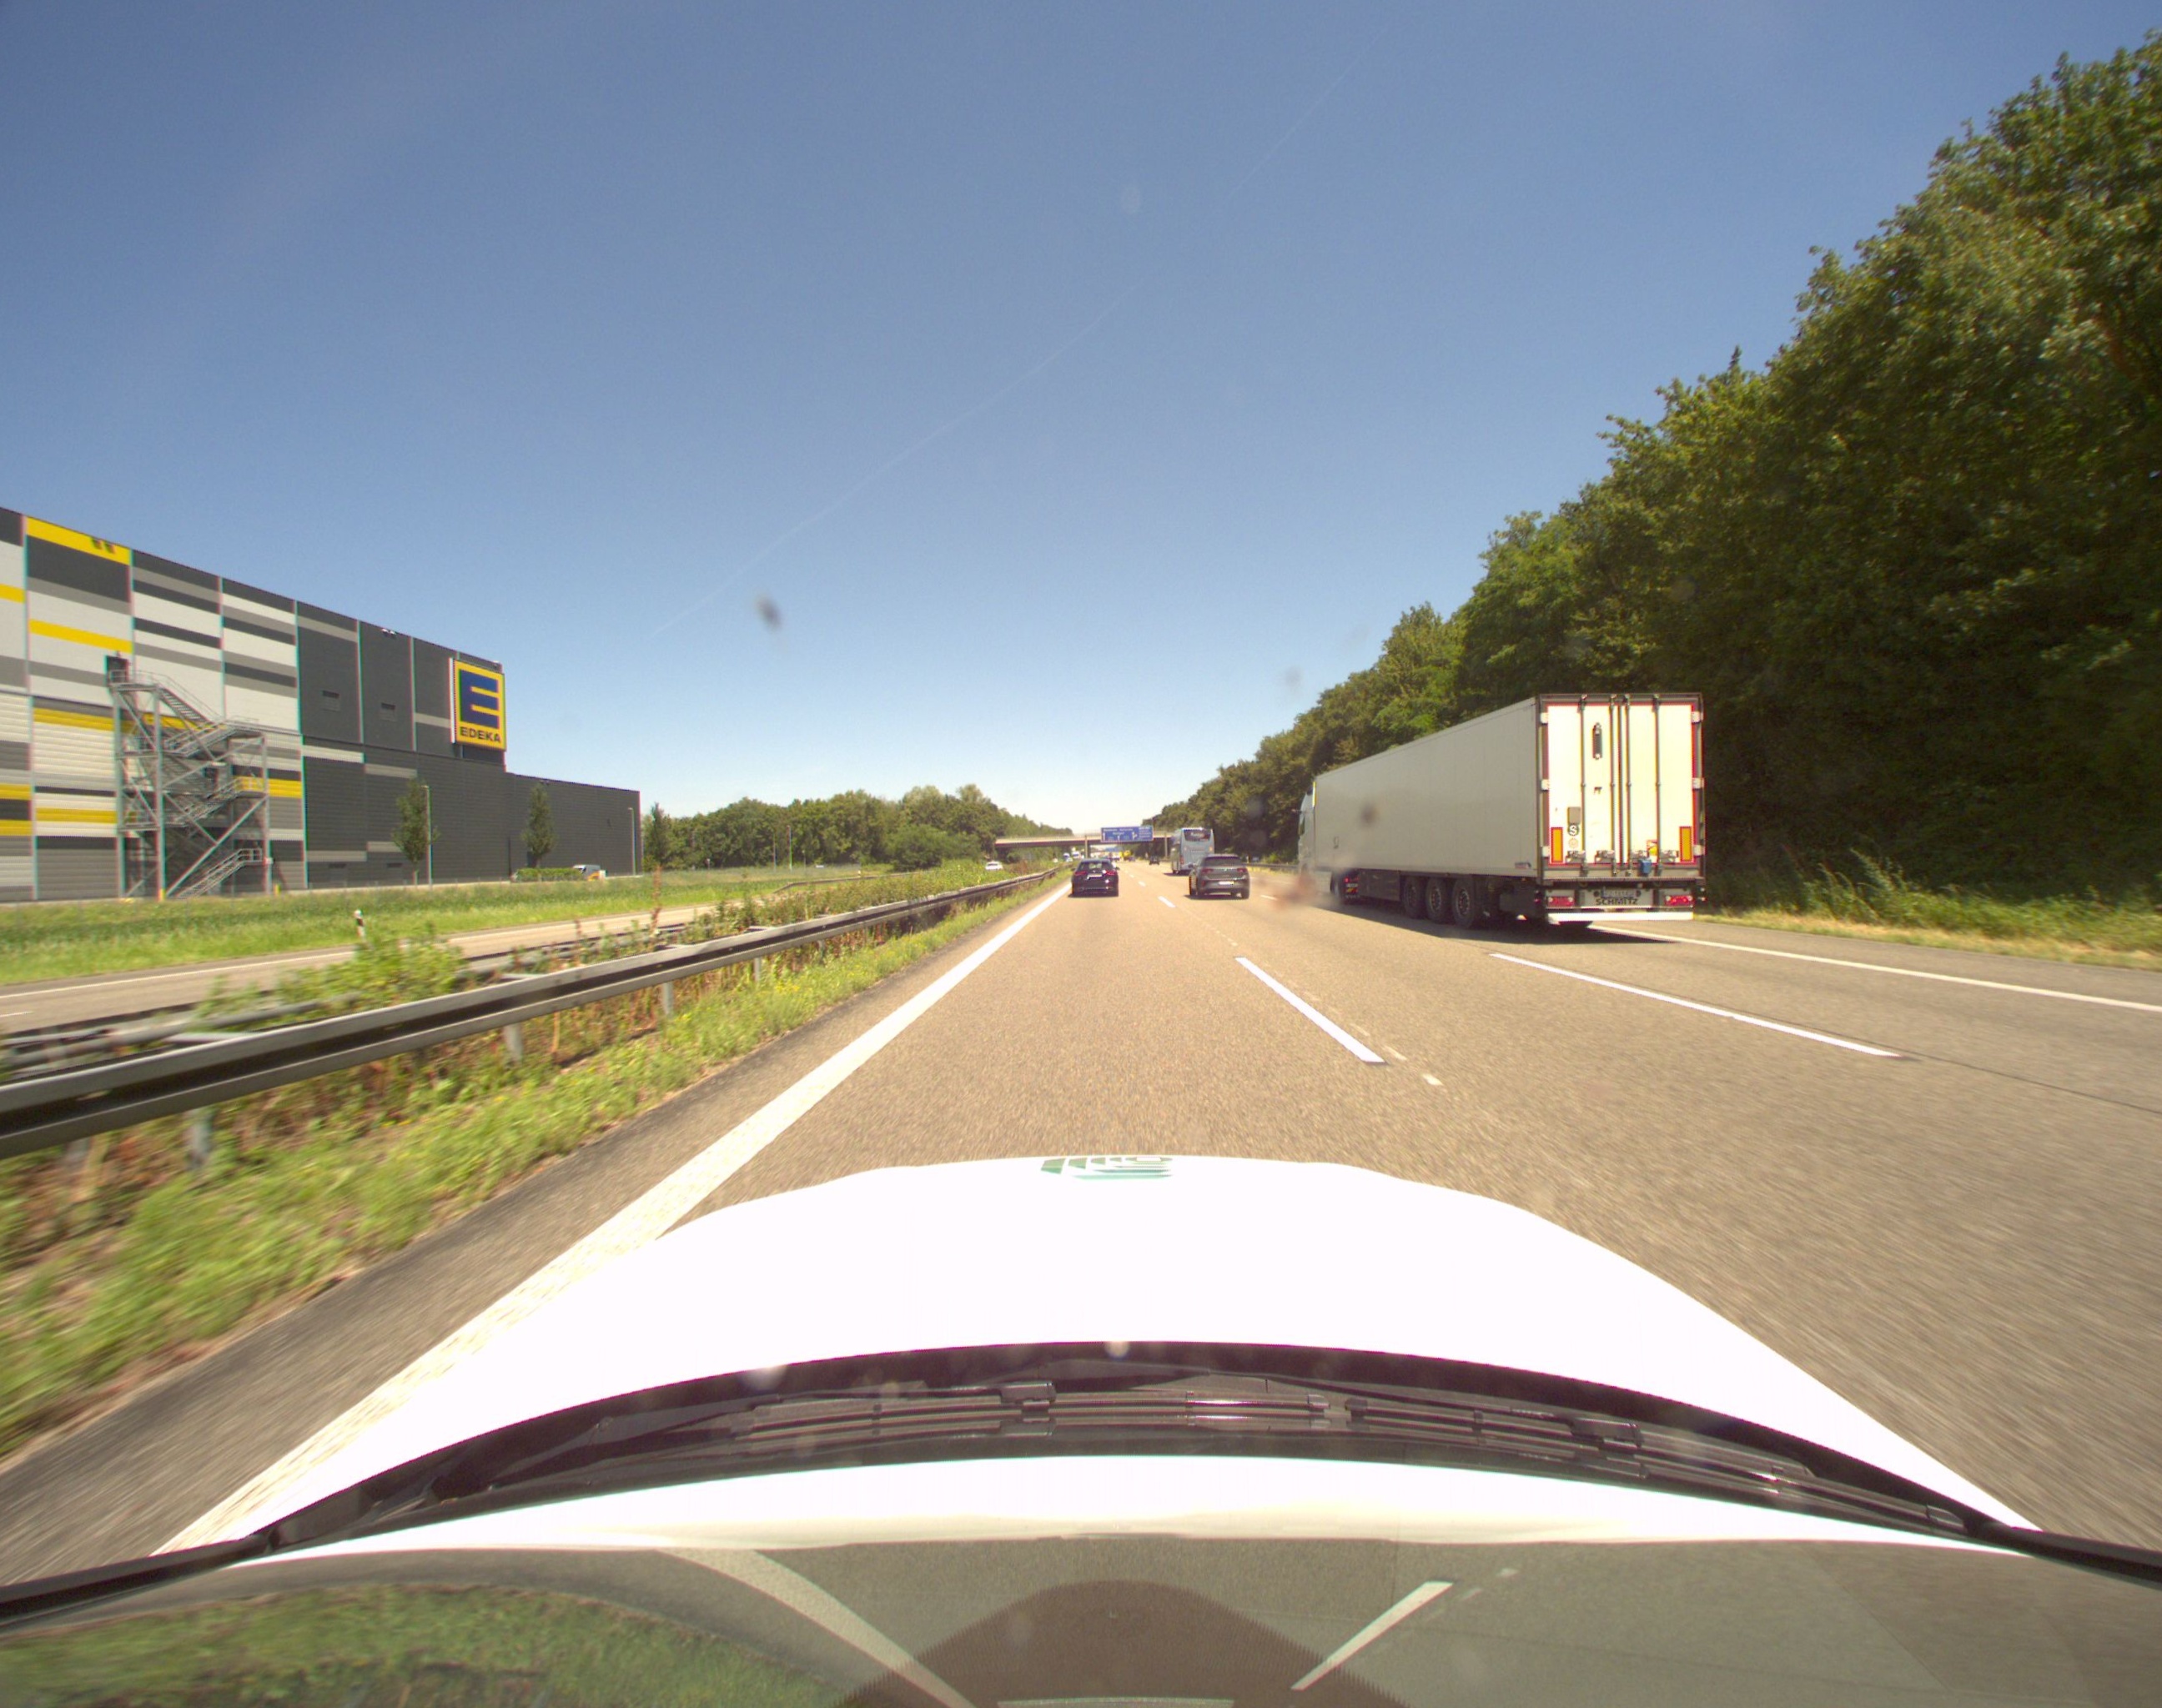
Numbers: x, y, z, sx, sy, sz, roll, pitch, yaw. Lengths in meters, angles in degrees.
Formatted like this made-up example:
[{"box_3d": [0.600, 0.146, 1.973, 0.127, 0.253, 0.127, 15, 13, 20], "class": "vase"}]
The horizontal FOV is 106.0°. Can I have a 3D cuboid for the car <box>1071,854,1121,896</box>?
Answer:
[{"box_3d": [0.589, 0.759, 31.866, 1.793, 1.502, 4.242, -1, 0, 1], "class": "car"}]

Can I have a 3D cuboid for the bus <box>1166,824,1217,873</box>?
[{"box_3d": [8.672, -0.370, 65.565, 2.791, 3.596, 12.479, -1, 0, 2], "class": "bus"}]

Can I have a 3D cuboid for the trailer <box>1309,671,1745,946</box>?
[{"box_3d": [8.841, -0.702, 19.533, 3.029, 4.224, 13.837, -1, 0, 1], "class": "trailer"}]

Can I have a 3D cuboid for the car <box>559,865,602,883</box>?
[{"box_3d": [-74.286, 2.973, 120.955, 2.388, 2.456, 6.176, -2, 0, 2], "class": "car"}]

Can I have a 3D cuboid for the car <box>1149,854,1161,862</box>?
[{"box_3d": [13.031, 0.725, 143.587, 1.782, 1.461, 3.952, -1, 0, 3], "class": "car"}]

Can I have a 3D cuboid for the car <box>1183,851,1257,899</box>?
[{"box_3d": [4.878, 0.693, 29.204, 1.893, 1.532, 4.760, -1, 0, 1], "class": "car"}]

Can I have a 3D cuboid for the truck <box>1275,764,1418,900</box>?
[{"box_3d": [8.964, -0.677, 28.337, 3.037, 4.215, 6.049, -1, 0, 1], "class": "truck"}]

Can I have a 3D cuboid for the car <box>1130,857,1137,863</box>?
[{"box_3d": [15.982, 1.816, 247.591, 2.072, 1.532, 4.244, -1, 0, 3], "class": "car"}]

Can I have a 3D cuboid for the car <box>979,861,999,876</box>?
[{"box_3d": [-10.195, 1.582, 90.628, 1.628, 1.427, 4.661, -3, 0, 1], "class": "car"}]

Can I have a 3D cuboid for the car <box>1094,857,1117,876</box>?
[{"box_3d": [2.108, 1.024, 70.169, 1.893, 1.532, 4.242, -1, 0, 1], "class": "car"}]
